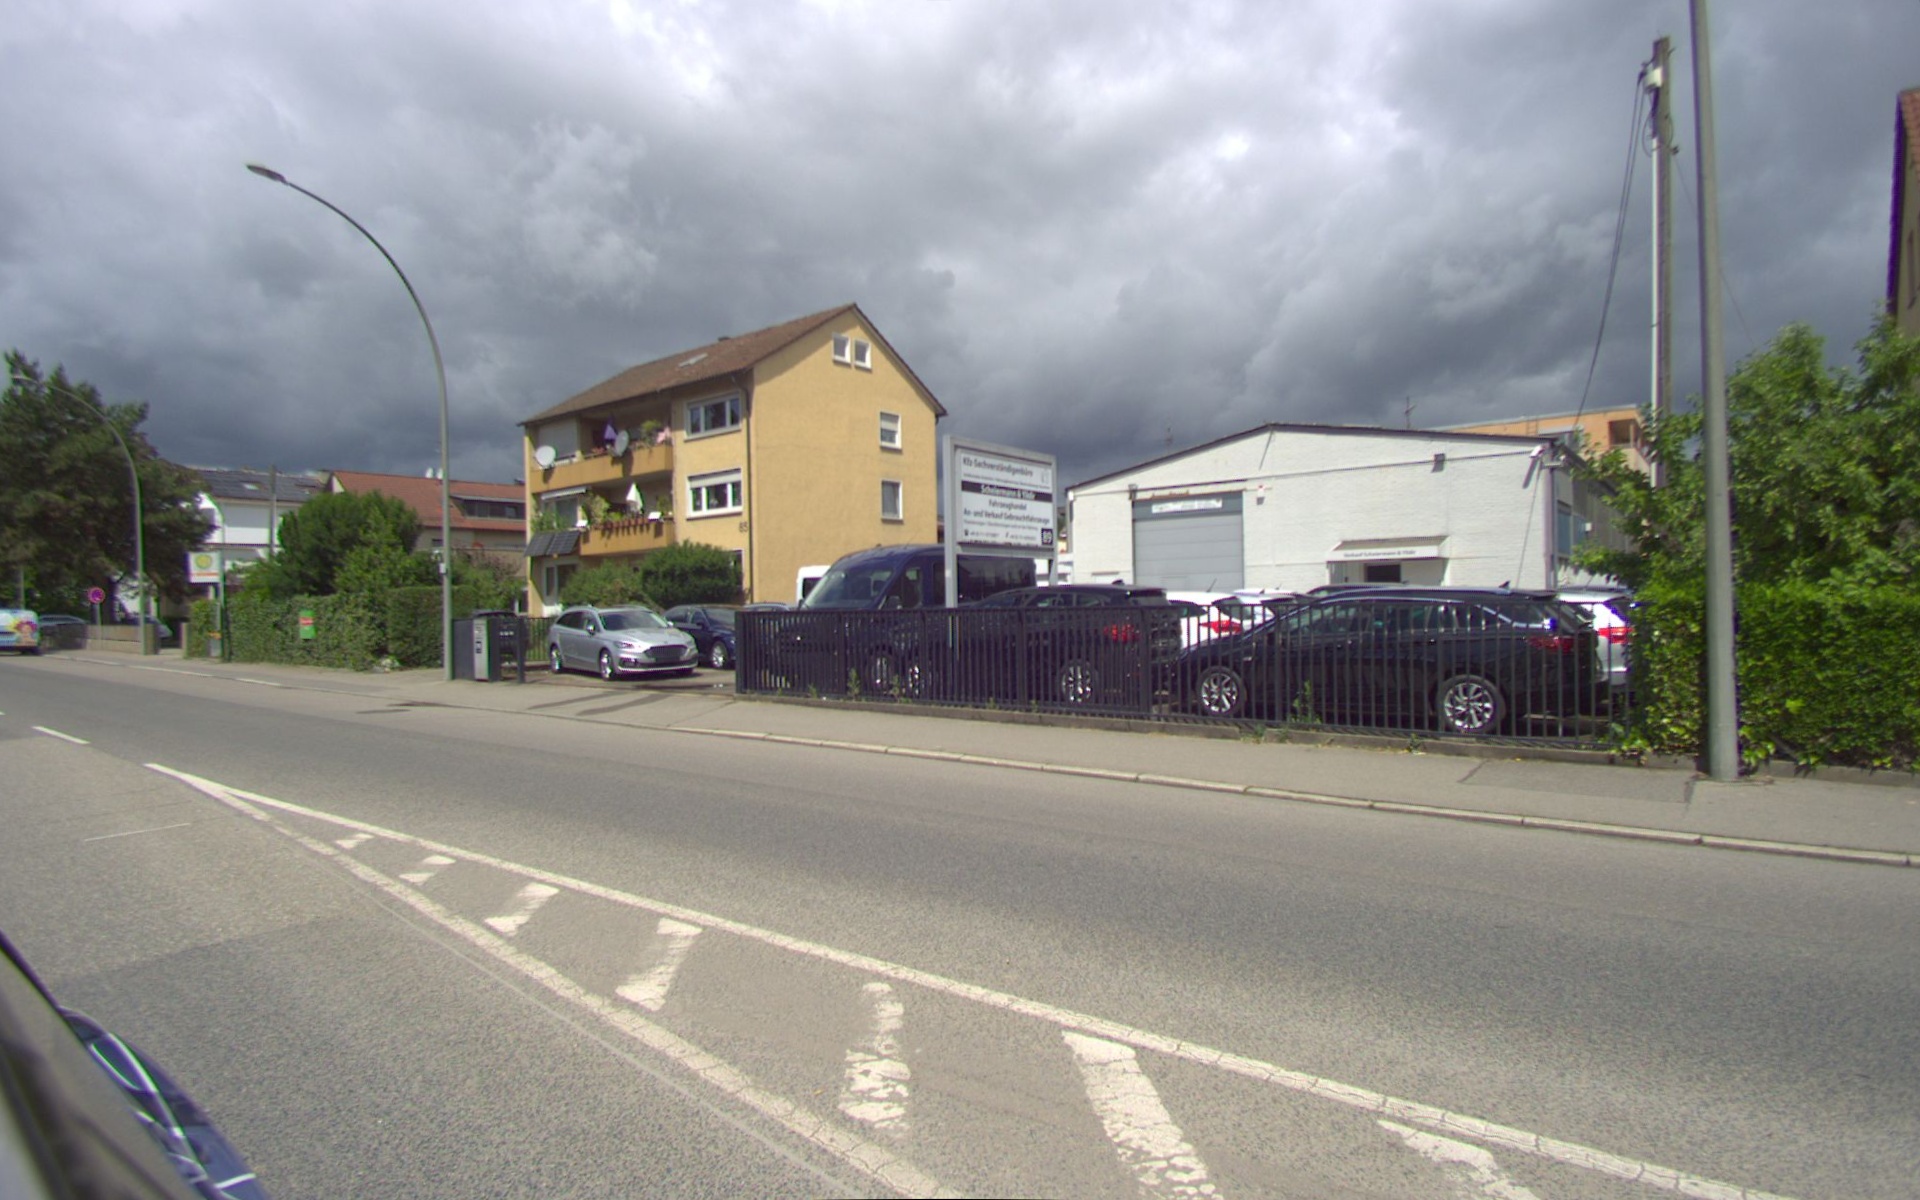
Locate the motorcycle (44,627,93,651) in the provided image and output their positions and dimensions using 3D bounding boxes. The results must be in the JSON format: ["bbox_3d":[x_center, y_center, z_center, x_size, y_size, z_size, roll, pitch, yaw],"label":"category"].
[{"bbox_3d":[-46.797,2.035,53.142,1.845,1.174,0.827,0,-1,-34],"label":"motorcycle"}]

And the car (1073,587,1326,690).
[{"bbox_3d":[4.168,0.647,17.860,3.990,1.630,1.761,-1,-1,35],"label":"car"}]

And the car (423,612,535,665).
[{"bbox_3d":[-14.388,1.108,30.173,1.823,1.437,4.335,0,-1,-43],"label":"car"}]

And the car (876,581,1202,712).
[{"bbox_3d":[1.054,0.619,14.565,4.277,1.607,2.013,-1,-1,37],"label":"car"}]

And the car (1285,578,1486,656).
[{"bbox_3d":[9.722,0.392,23.230,3.990,1.630,1.761,-1,-1,35],"label":"car"}]

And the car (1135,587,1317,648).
[{"bbox_3d":[8.061,0.550,30.905,4.998,1.726,2.030,-1,-1,37],"label":"car"}]

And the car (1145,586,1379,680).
[{"bbox_3d":[5.788,0.613,19.540,3.990,1.630,1.761,-1,-1,35],"label":"car"}]

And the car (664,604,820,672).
[{"bbox_3d":[-5.211,0.839,23.818,1.821,1.437,4.338,0,-1,-39],"label":"car"}]

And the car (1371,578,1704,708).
[{"bbox_3d":[8.288,0.575,14.669,3.994,1.630,1.759,-1,-1,38],"label":"car"}]

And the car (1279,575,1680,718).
[{"bbox_3d":[6.544,0.527,12.920,4.260,1.518,2.134,-1,-1,37],"label":"car"}]

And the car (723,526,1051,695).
[{"bbox_3d":[-1.068,0.184,18.229,2.475,2.515,5.977,-1,-1,39],"label":"car"}]

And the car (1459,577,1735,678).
[{"bbox_3d":[11.307,0.473,18.171,3.990,1.630,1.761,-1,-1,35],"label":"car"}]

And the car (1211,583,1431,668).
[{"bbox_3d":[7.479,0.521,21.096,3.990,1.630,1.761,-1,-1,35],"label":"car"}]

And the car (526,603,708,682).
[{"bbox_3d":[-7.577,0.852,21.978,1.968,1.497,5.349,0,-1,-39],"label":"car"}]

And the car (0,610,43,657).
[{"bbox_3d":[-39.622,1.415,41.807,4.891,1.868,1.815,-2,-5,40],"label":"car"}]

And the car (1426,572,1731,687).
[{"bbox_3d":[9.839,0.455,16.248,3.994,1.630,1.759,-1,-1,38],"label":"car"}]

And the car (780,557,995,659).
[{"bbox_3d":[-2.119,0.289,27.883,6.134,2.514,2.386,-1,-3,43],"label":"car"}]

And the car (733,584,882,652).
[{"bbox_3d":[-3.988,0.458,25.876,1.821,1.589,4.338,0,-1,-39],"label":"car"}]

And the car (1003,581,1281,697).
[{"bbox_3d":[2.845,0.581,16.126,3.990,1.630,1.761,-1,-1,35],"label":"car"}]

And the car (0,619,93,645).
[{"bbox_3d":[-60.744,2.071,66.882,1.970,1.563,4.960,-1,0,38],"label":"car"}]

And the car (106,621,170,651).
[{"bbox_3d":[-45.725,1.990,56.277,4.079,1.555,1.751,-1,-1,36],"label":"car"}]

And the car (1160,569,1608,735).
[{"bbox_3d":[4.674,0.516,11.388,4.260,1.518,2.133,-1,-1,37],"label":"car"}]

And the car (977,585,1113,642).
[{"bbox_3d":[2.828,0.452,34.133,4.328,1.805,1.826,-1,-1,41],"label":"car"}]

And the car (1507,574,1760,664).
[{"bbox_3d":[13.222,0.378,20.080,3.990,1.630,1.761,-1,-1,35],"label":"car"}]
